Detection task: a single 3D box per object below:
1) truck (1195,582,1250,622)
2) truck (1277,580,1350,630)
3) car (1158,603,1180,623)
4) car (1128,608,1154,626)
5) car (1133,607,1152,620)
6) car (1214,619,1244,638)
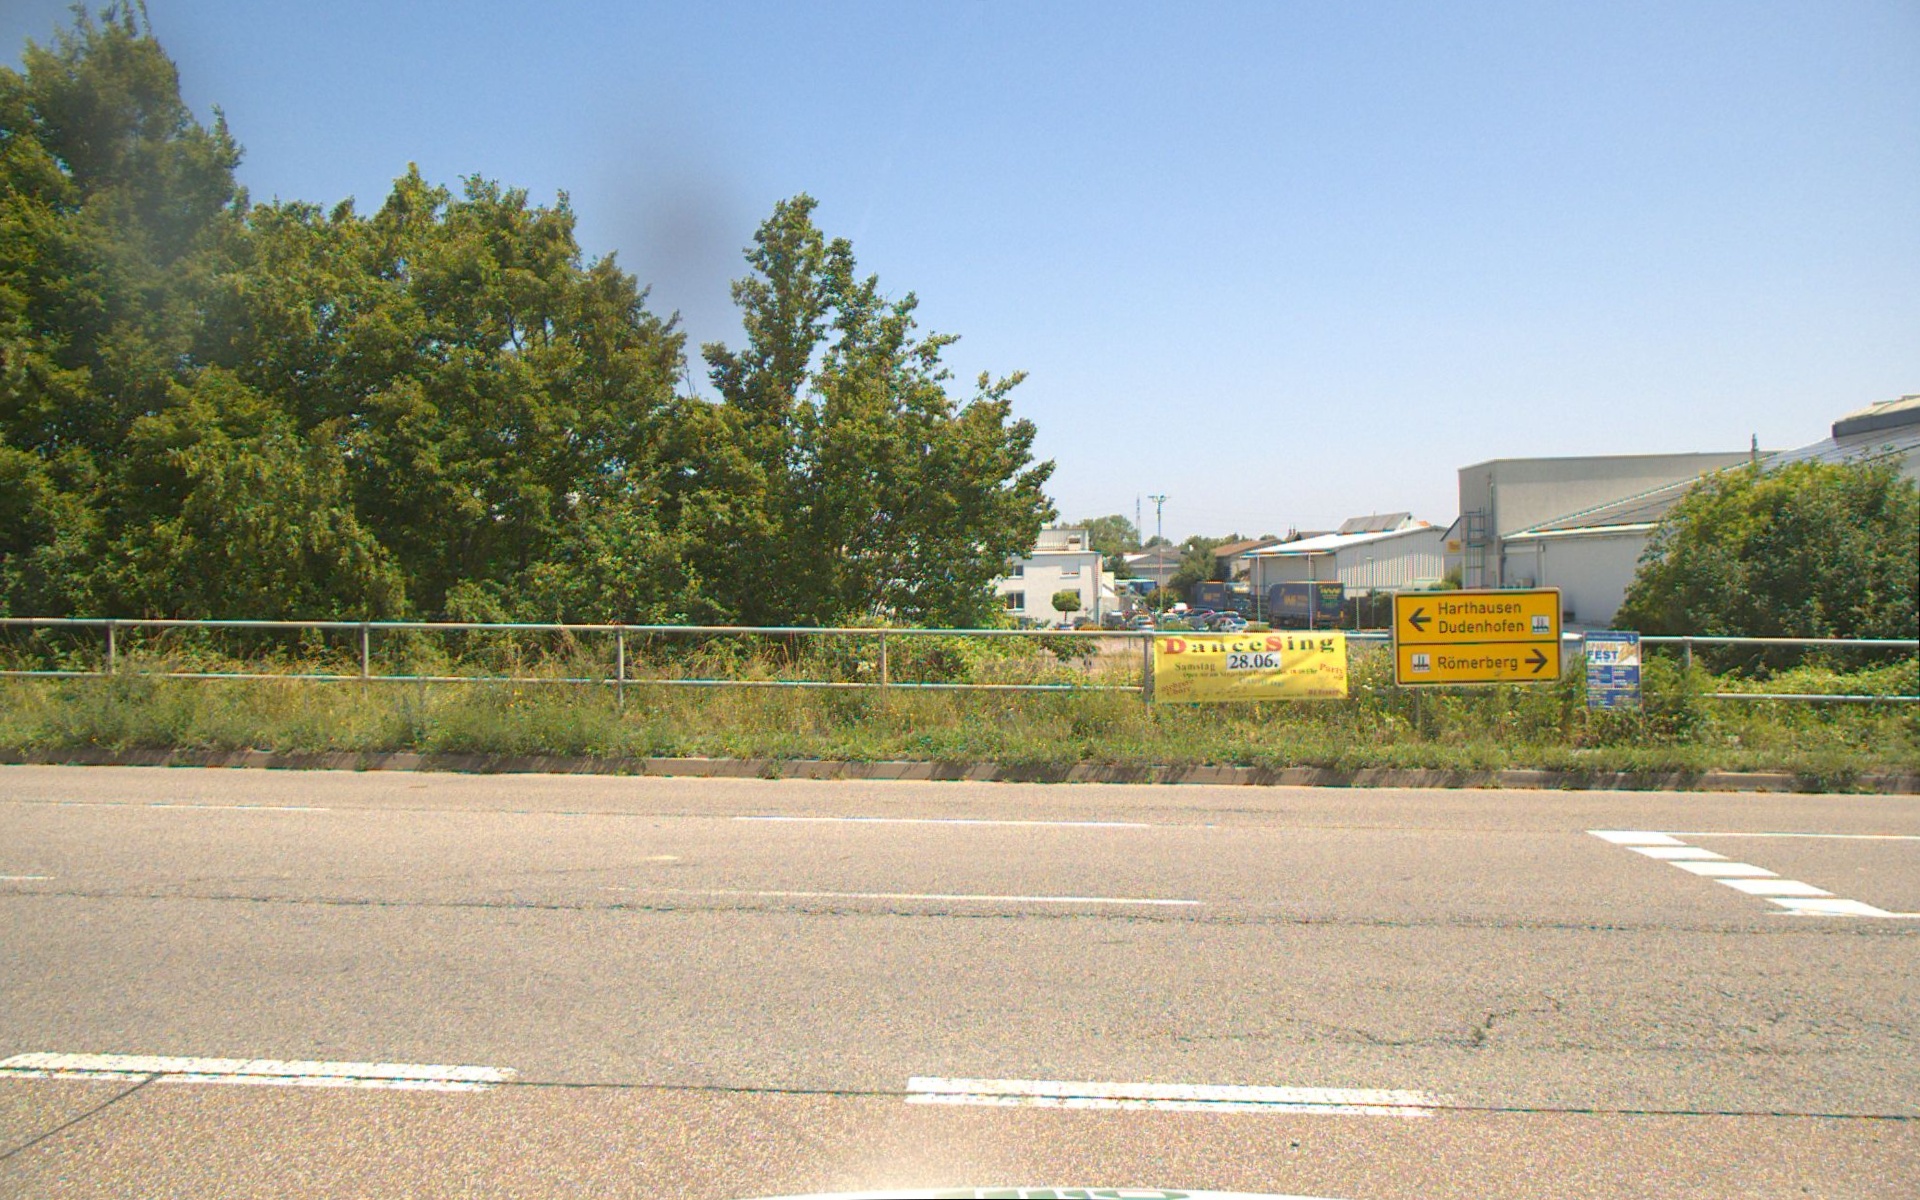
[{"bbox_3d":[29.558,0.150,187.037,3.343,4.386,14.587,0,0,-2],"label":"truck"},{"bbox_3d":[32.457,0.397,152.520,3.633,4.386,13.339,0,0,-1],"label":"truck"},{"bbox_3d":[22.283,1.373,176.632,1.682,2.049,3.998,0,0,-3],"label":"car"},{"bbox_3d":[18.663,1.694,170.649,1.954,1.761,4.860,0,0,-3],"label":"car"},{"bbox_3d":[19.801,1.434,179.449,1.422,1.374,3.313,0,0,-4],"label":"car"},{"bbox_3d":[22.181,2.333,136.412,1.650,1.387,3.834,-3,0,-3],"label":"car"}]
